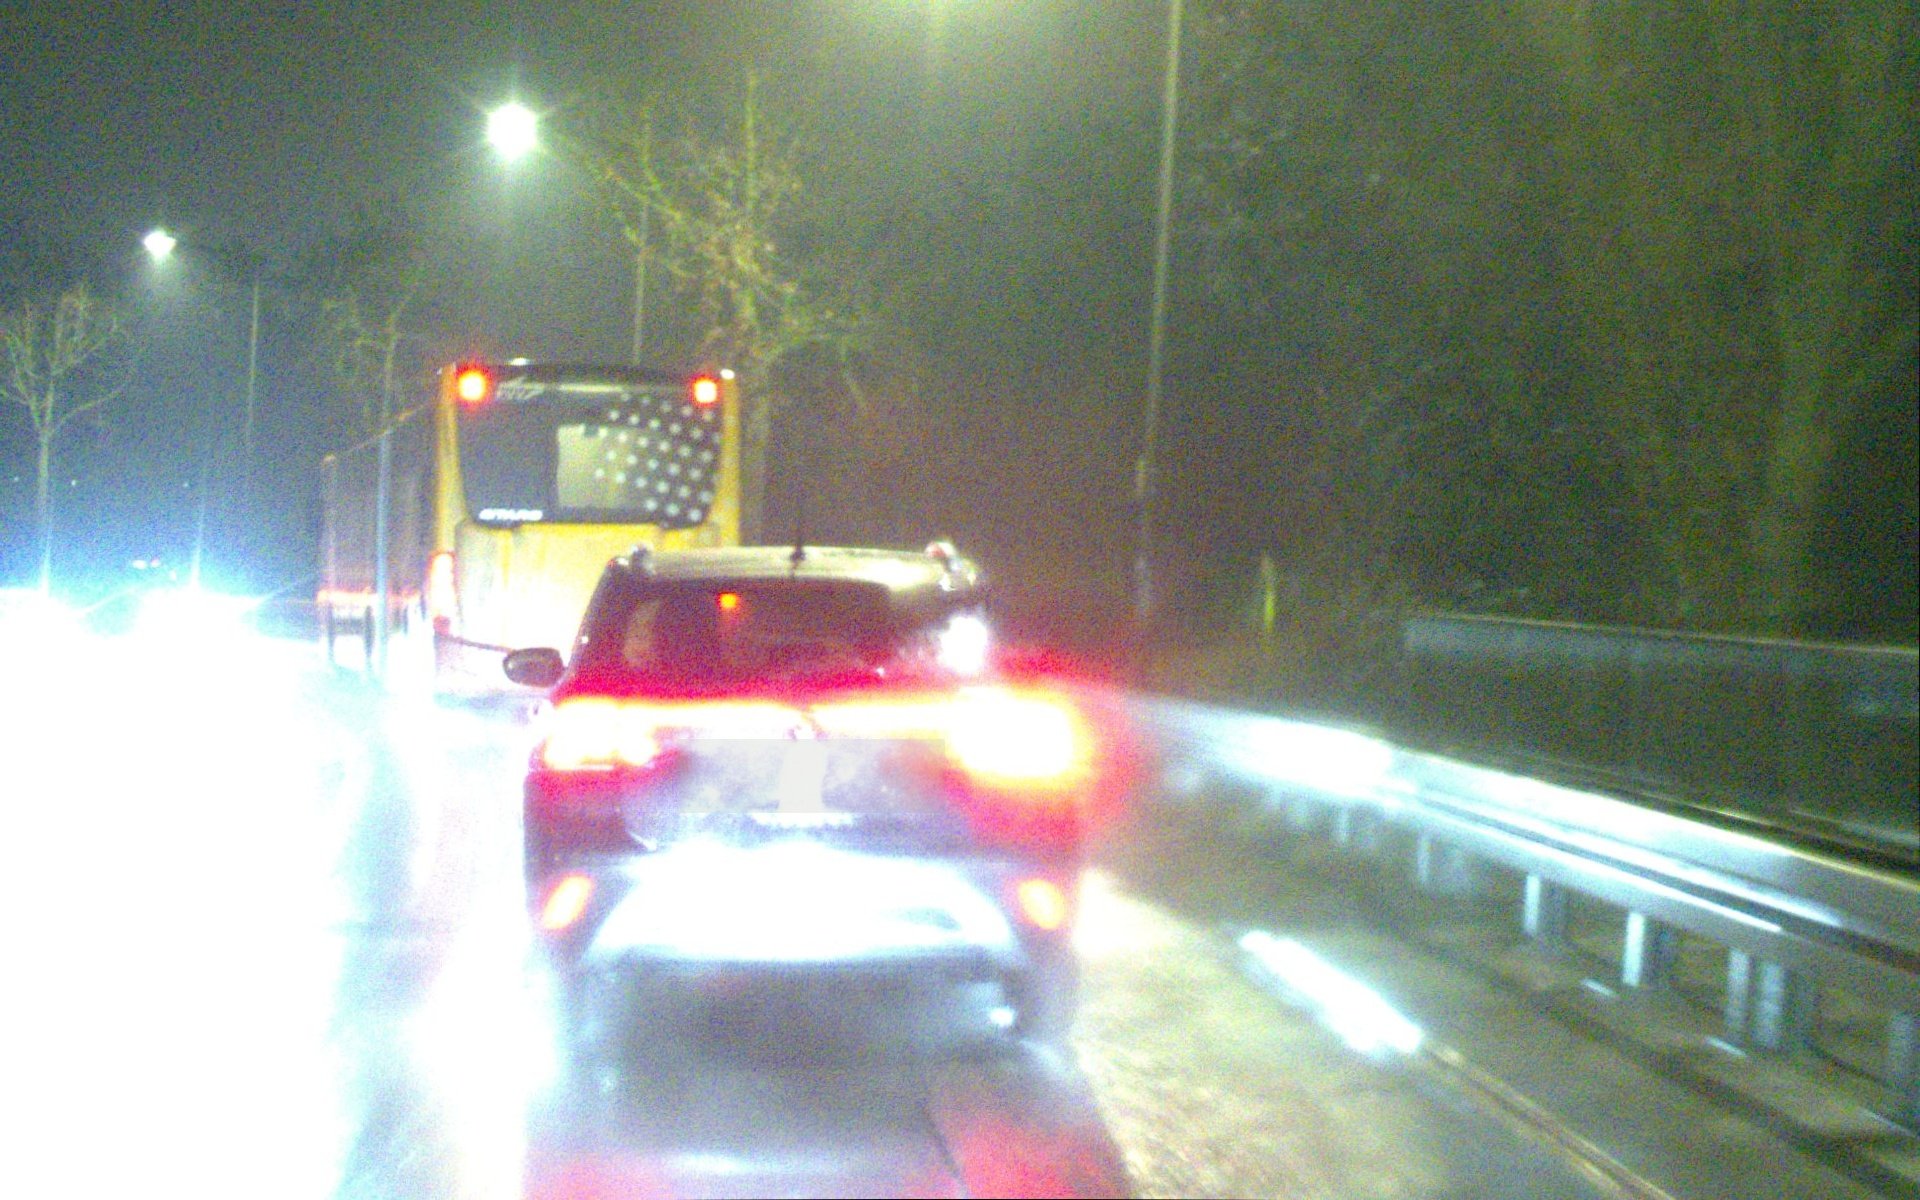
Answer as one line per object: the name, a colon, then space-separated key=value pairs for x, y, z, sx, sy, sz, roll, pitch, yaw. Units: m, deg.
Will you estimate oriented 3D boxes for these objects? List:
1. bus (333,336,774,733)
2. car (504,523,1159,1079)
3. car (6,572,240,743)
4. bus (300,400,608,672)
bus: x=-4.343 y=-0.626 z=33.551 sx=3.082 sy=3.122 sz=12.701 roll=-1 pitch=1 yaw=-12
car: x=-0.622 y=0.552 z=11.868 sx=1.855 sy=1.581 sz=4.001 roll=0 pitch=1 yaw=-8
car: x=-8.614 y=0.547 z=35.725 sx=1.897 sy=1.561 sz=4.736 roll=0 pitch=1 yaw=-8
bus: x=-6.603 y=-0.798 z=43.764 sx=3.048 sy=3.121 sz=8.081 roll=-1 pitch=1 yaw=-14
